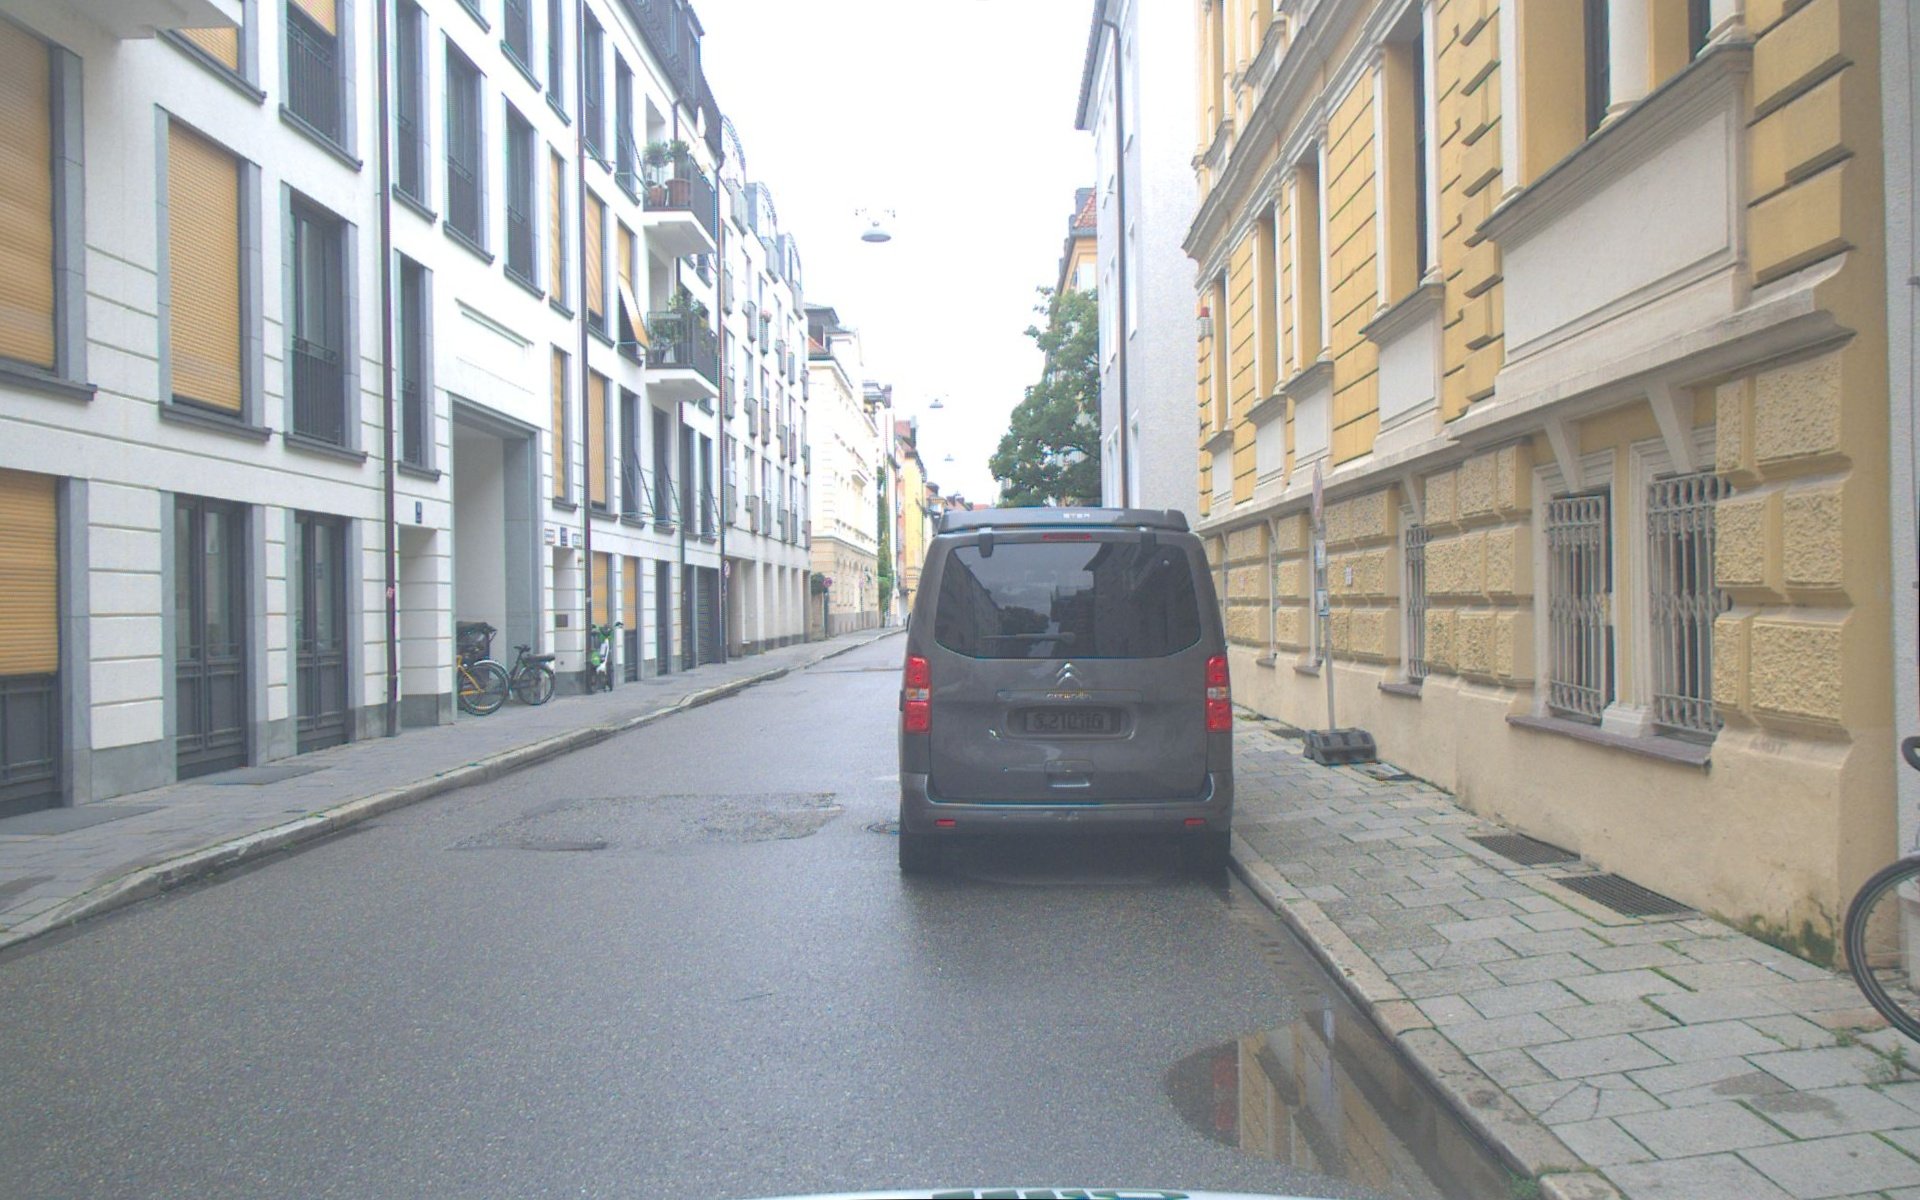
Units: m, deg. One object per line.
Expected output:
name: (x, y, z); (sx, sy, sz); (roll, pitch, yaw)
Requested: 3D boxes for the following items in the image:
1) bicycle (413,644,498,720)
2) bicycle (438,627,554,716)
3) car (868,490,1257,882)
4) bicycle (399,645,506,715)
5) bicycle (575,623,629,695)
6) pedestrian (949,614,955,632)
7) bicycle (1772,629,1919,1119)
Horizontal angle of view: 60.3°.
bicycle: (-6.781, 1.096, 22.244); (1.054, 0.964, 0.304); (0, 1, -34)
bicycle: (-6.735, 1.019, 24.075); (0.374, 1.214, 1.674); (1, 1, 44)
car: (0.516, 0.436, 10.653); (1.953, 1.966, 4.659); (0, 0, 0)
bicycle: (-7.023, 1.100, 22.896); (1.374, 0.904, 0.376); (0, 1, -34)
bicycle: (-6.024, 0.974, 27.895); (0.333, 1.166, 2.192); (-2, -1, 2)
pedestrian: (-0.768, 2.161, 156.392); (0.527, 1.682, 0.376); (-2, 0, 1)
bicycle: (2.653, 0.686, 3.779); (0.625, 1.173, 1.915); (-4, 0, 1)
